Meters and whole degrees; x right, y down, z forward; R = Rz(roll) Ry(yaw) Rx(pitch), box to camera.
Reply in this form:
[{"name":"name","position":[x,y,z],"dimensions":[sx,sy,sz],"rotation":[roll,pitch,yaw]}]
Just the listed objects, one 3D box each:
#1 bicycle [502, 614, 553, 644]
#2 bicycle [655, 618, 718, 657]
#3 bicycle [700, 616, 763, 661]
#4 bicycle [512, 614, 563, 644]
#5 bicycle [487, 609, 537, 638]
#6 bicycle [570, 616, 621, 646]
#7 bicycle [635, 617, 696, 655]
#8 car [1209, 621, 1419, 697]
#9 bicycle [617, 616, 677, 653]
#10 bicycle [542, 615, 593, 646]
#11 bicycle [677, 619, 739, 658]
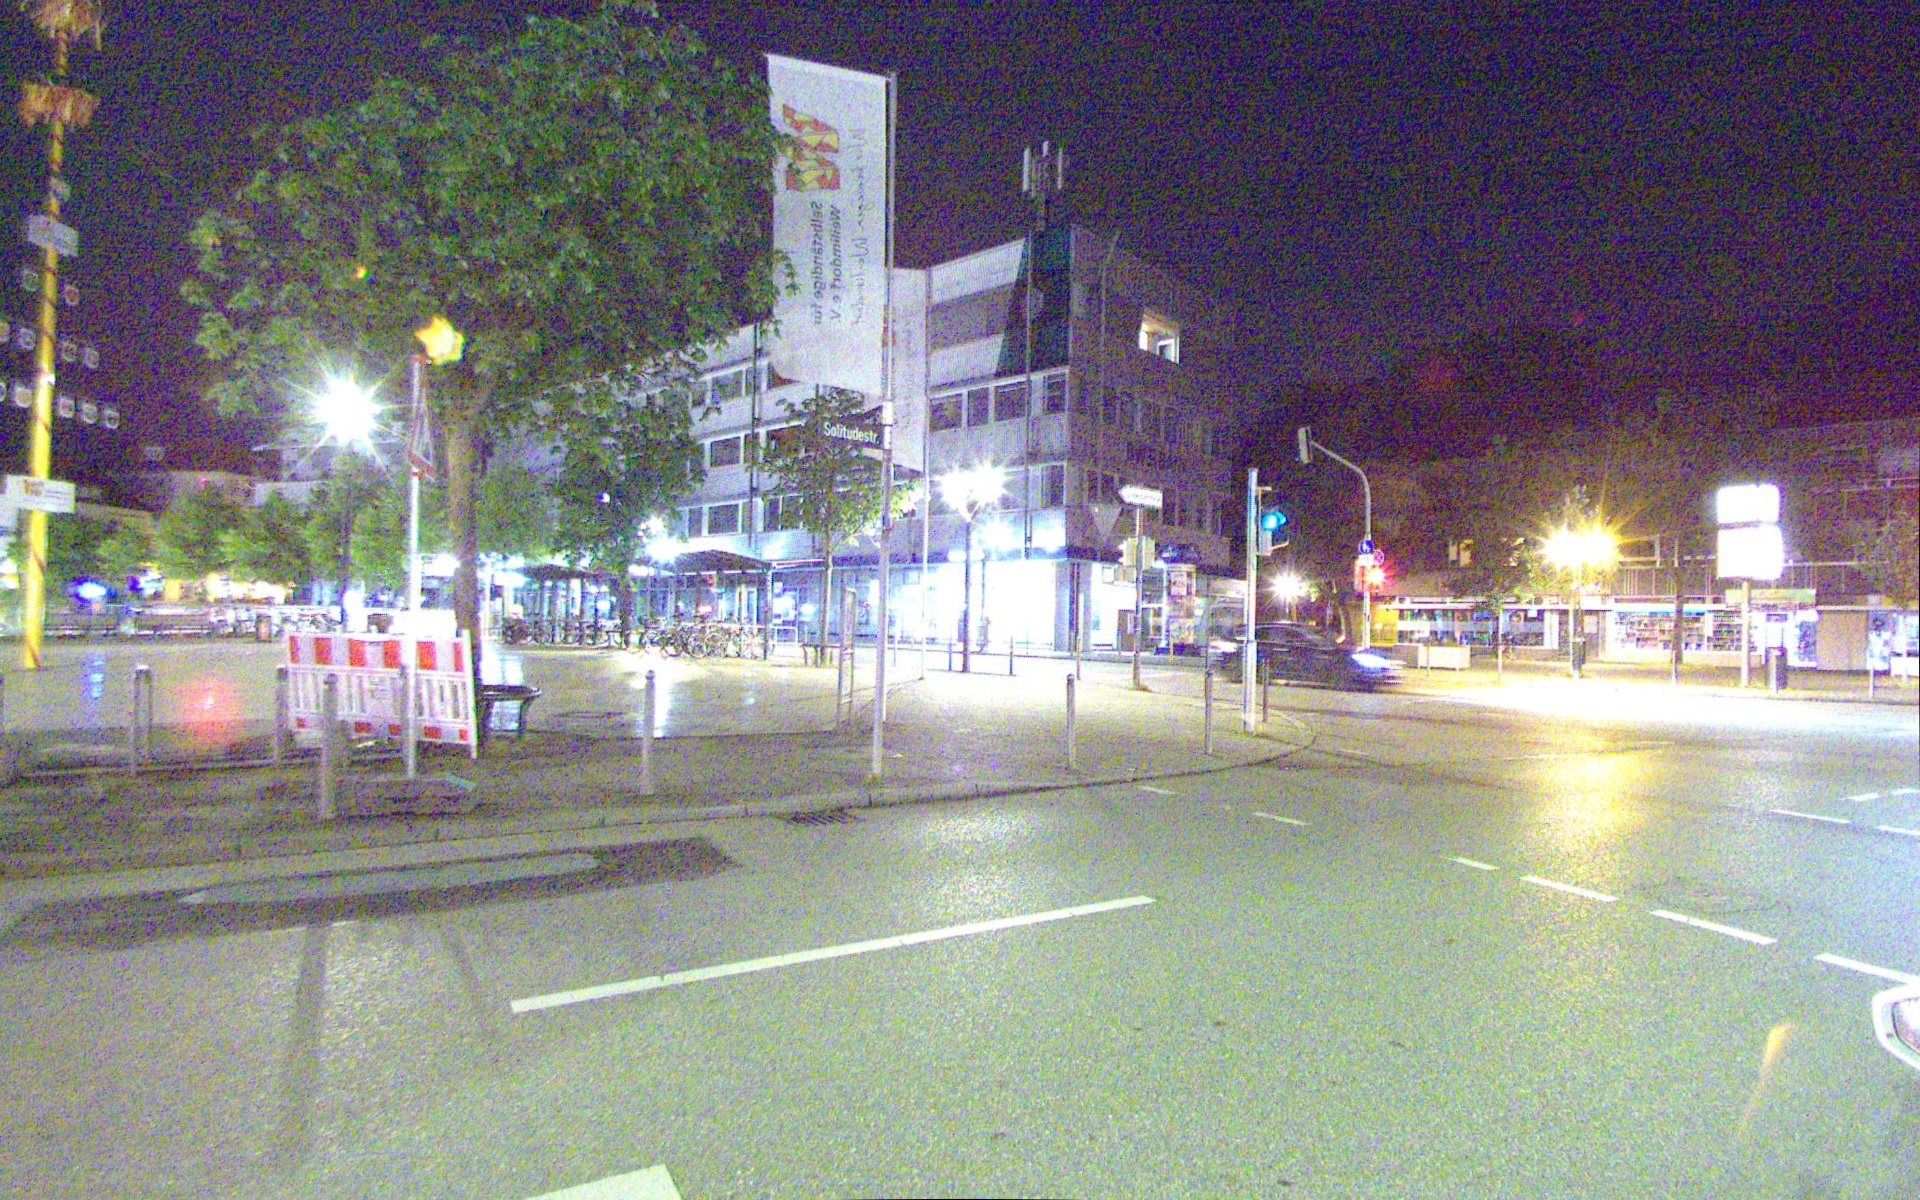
[{"name":"bicycle","position":[-14.805,0.995,34.374],"dimensions":[0.473,0.970,1.525],"rotation":[2,0,44]},{"name":"bicycle","position":[-7.107,0.969,26.142],"dimensions":[0.473,0.970,1.525],"rotation":[2,0,44]},{"name":"bicycle","position":[-5.654,0.947,24.927],"dimensions":[0.440,1.068,1.525],"rotation":[2,0,43]},{"name":"bicycle","position":[-14.187,0.986,33.741],"dimensions":[0.473,0.970,1.525],"rotation":[2,0,44]},{"name":"bicycle","position":[-15.557,0.810,34.895],"dimensions":[0.473,0.970,1.525],"rotation":[2,0,44]},{"name":"bicycle","position":[-12.002,1.019,33.081],"dimensions":[0.473,0.970,1.525],"rotation":[2,0,44]},{"name":"bicycle","position":[-7.854,0.958,26.825],"dimensions":[0.473,0.970,1.525],"rotation":[2,0,44]},{"name":"car","position":[8.221,1.306,23.580],"dimensions":[4.256,1.473,1.869],"rotation":[2,0,44]},{"name":"bicycle","position":[-8.534,0.940,27.426],"dimensions":[0.473,0.970,1.525],"rotation":[2,0,44]},{"name":"bicycle","position":[-12.987,1.005,33.255],"dimensions":[0.473,0.970,1.524],"rotation":[2,0,44]},{"name":"bicycle","position":[-6.390,0.970,25.508],"dimensions":[0.440,0.970,1.525],"rotation":[2,0,43]}]
